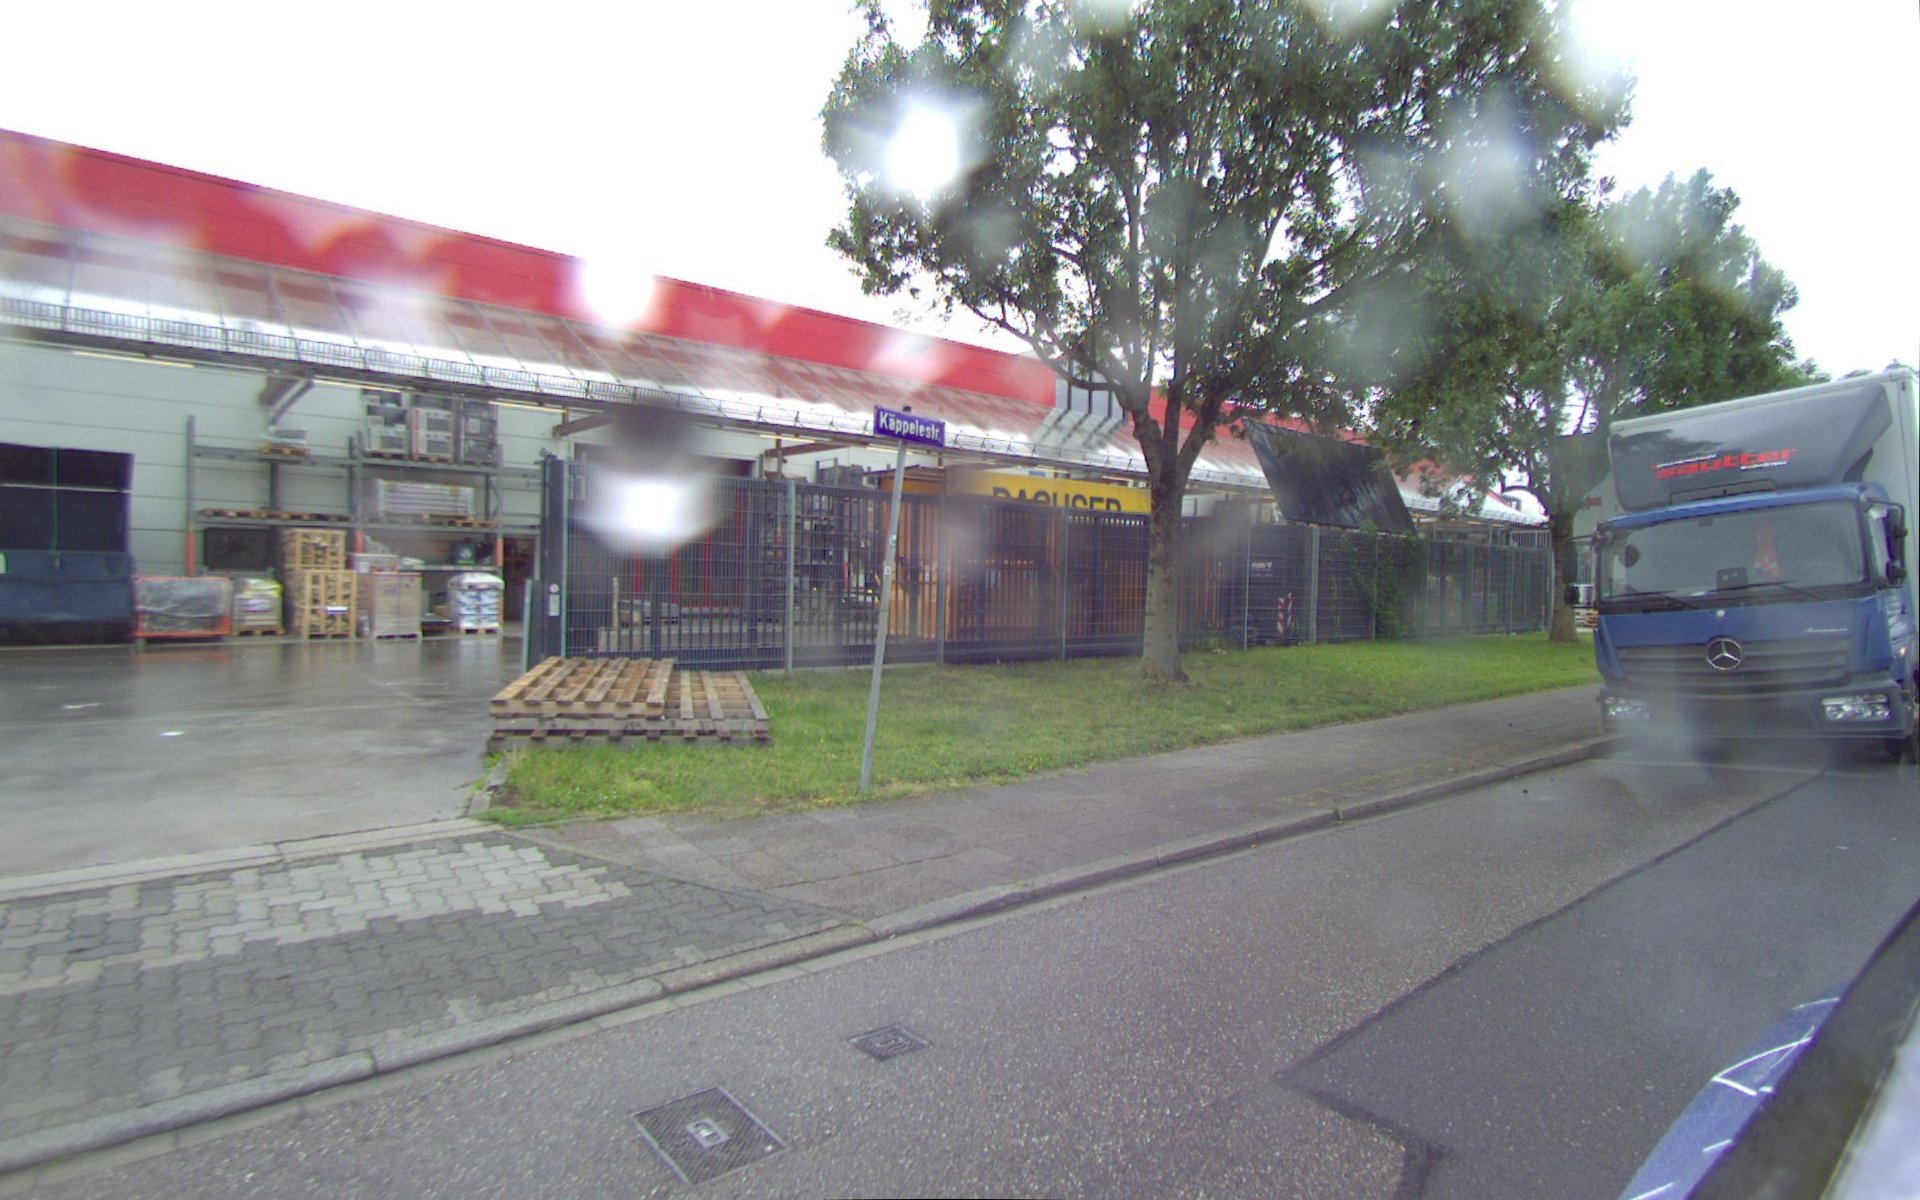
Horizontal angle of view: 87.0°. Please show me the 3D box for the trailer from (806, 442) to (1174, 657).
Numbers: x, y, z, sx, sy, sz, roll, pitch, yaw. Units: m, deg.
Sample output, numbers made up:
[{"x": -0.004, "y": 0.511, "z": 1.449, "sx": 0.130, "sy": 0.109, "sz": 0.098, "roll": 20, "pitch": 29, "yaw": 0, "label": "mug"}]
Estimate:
[{"x": 1.066, "y": -1.157, "z": 24.458, "sx": 9.305, "sy": 4.295, "sz": 2.973, "roll": -2, "pitch": 2, "yaw": -40, "label": "trailer"}]

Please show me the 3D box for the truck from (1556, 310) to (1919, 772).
[{"x": 9.947, "y": -0.469, "z": 11.723, "sx": 7.866, "sy": 3.739, "sz": 2.676, "roll": 0, "pitch": -1, "yaw": -40, "label": "truck"}]
